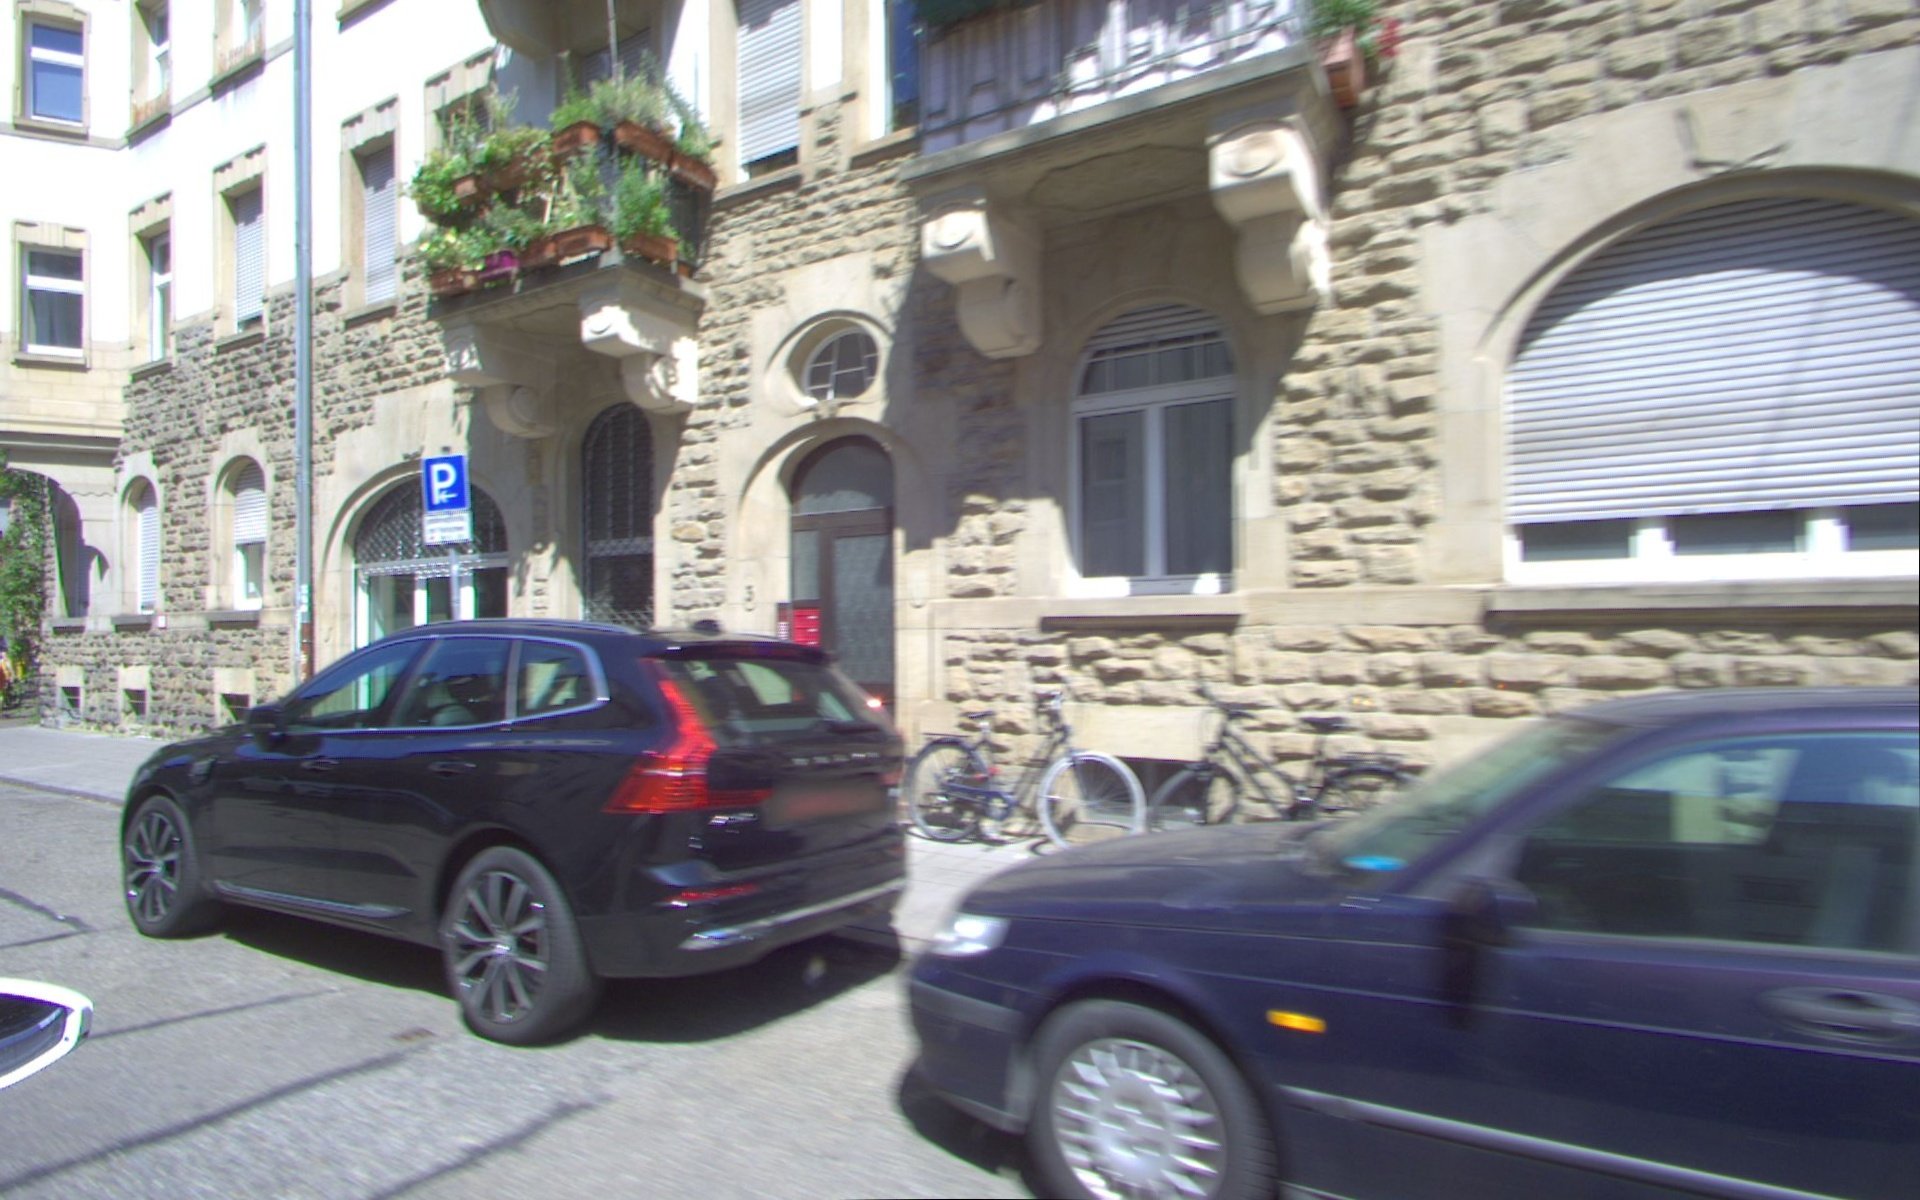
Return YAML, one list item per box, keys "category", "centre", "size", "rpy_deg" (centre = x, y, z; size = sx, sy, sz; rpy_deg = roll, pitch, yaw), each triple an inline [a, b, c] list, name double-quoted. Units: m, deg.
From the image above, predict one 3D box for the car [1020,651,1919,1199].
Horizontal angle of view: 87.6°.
- category: "car"
  centre: [2.225, 0.849, 2.280]
  size: [3.913, 1.415, 1.512]
  rpy_deg: [-1, -4, 30]

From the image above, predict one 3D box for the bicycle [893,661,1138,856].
- category: "bicycle"
  centre: [0.353, 1.051, 7.036]
  size: [1.750, 1.223, 0.383]
  rpy_deg: [-2, -1, 33]

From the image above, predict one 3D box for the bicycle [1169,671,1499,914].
- category: "bicycle"
  centre: [2.147, 1.052, 5.880]
  size: [1.750, 1.223, 0.440]
  rpy_deg: [-2, -1, 33]

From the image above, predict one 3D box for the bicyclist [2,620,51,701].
- category: "bicyclist"
  centre: [-19.874, 1.274, 21.328]
  size: [0.671, 1.669, 0.657]
  rpy_deg: [0, -1, -35]

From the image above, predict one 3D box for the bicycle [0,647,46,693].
- category: "bicycle"
  centre: [-23.100, 1.676, 23.828]
  size: [0.625, 1.052, 1.897]
  rpy_deg: [-1, -1, 31]

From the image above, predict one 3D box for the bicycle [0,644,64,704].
- category: "bicycle"
  centre: [-19.872, 1.549, 21.307]
  size: [0.785, 1.184, 2.564]
  rpy_deg: [0, -2, -32]

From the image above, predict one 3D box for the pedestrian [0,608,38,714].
- category: "pedestrian"
  centre: [-17.457, 1.099, 18.161]
  size: [0.590, 1.903, 0.883]
  rpy_deg: [-1, -2, 13]

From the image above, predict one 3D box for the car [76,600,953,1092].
- category: "car"
  centre: [-2.451, 0.904, 5.200]
  size: [4.537, 1.586, 1.832]
  rpy_deg: [-1, -4, 30]
